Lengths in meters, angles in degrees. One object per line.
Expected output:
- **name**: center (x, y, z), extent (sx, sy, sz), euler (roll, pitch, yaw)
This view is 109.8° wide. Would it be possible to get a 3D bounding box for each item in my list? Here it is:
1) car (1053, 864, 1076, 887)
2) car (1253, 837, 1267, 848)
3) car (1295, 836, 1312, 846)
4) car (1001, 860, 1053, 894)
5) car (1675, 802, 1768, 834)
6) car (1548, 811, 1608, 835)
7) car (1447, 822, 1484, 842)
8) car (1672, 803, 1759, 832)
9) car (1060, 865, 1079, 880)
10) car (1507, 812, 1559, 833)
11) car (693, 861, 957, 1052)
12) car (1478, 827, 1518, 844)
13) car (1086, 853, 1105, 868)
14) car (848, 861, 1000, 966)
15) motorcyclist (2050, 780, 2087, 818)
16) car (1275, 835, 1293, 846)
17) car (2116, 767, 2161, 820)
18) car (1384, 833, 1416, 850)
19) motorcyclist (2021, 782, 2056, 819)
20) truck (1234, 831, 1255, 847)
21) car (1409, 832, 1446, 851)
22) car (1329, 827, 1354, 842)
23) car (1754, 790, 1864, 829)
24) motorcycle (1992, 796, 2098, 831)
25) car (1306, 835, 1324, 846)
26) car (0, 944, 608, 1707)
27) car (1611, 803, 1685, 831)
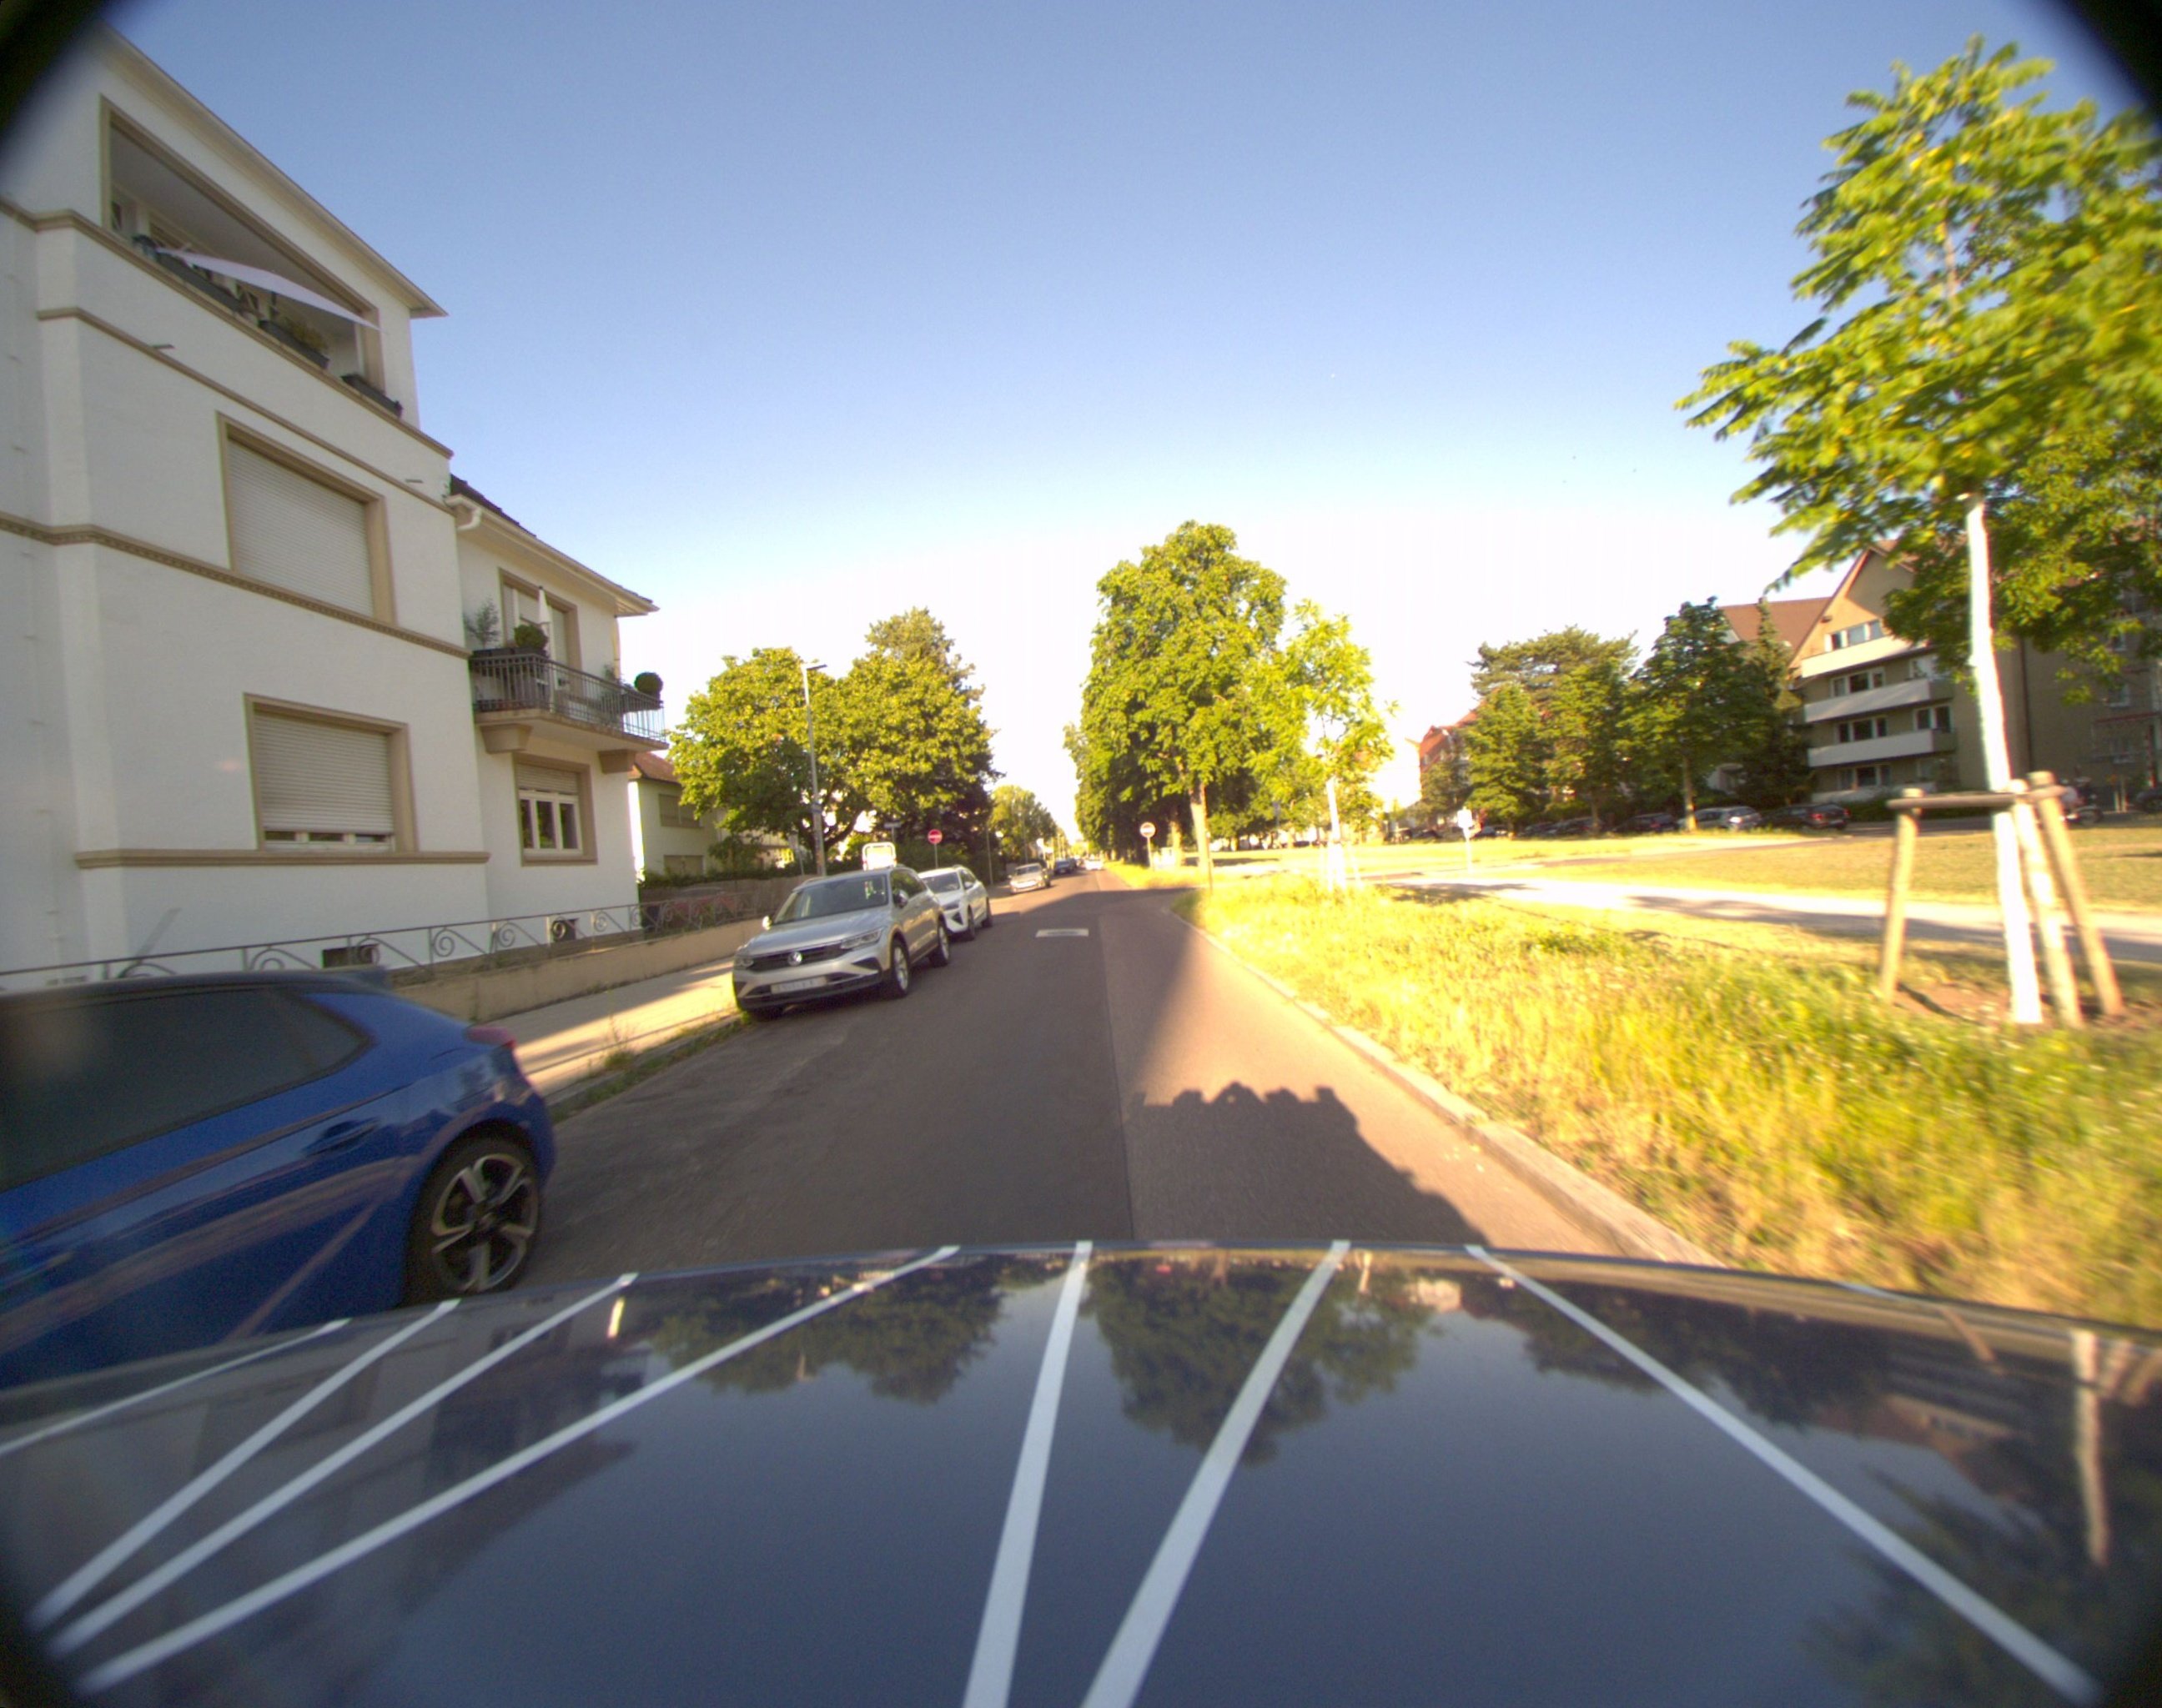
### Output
- **car**: center (-1.662, 2.175, 76.562), extent (1.998, 2.179, 4.001), euler (-4, -1, 2)
- **car**: center (36.684, -2.311, 155.412), extent (1.998, 2.001, 4.002), euler (-4, -1, 3)
- **car**: center (41.440, -2.390, 141.470), extent (1.999, 1.834, 3.999), euler (0, 1, -2)
- **car**: center (-2.725, 1.155, 39.370), extent (2.111, 1.396, 4.133), euler (-9, -1, 1)
- **car**: center (34.225, -1.904, 40.714), extent (1.692, 1.399, 3.643), euler (-4, -1, -3)
- **car**: center (34.318, -2.113, 52.537), extent (1.560, 1.407, 3.643), euler (-4, -1, -3)
- **car**: center (41.007, -2.329, 81.133), extent (1.998, 2.002, 4.000), euler (3, 1, 4)
- **car**: center (40.377, -2.299, 48.458), extent (1.999, 1.490, 3.999), euler (-4, -1, -3)
- **car**: center (-1.333, 2.177, 91.337), extent (1.998, 1.624, 4.001), euler (-4, -1, 2)
- **car**: center (34.166, -2.357, 57.561), extent (1.560, 1.323, 3.643), euler (-4, -1, -3)
- **car**: center (-3.042, 1.091, 10.224), extent (1.805, 1.639, 4.583), euler (-9, 1, 0)
- **car**: center (41.119, -1.782, 75.049), extent (1.998, 1.596, 4.000), euler (0, 1, 4)
- **car**: center (1.648, 0.695, 84.370), extent (1.998, 1.483, 4.000), euler (-1, 1, 1)
- **car**: center (-3.096, 1.110, 16.098), extent (1.880, 1.525, 4.590), euler (-9, 0, 2)
- **motorcyclist**: center (32.062, -1.780, 24.677), extent (0.574, 1.143, 0.752), euler (-4, 0, 44)
- **car**: center (36.126, -2.395, 135.150), extent (2.125, 2.002, 3.999), euler (0, 1, 0)
- **car**: center (39.905, -2.295, 26.470), extent (1.624, 1.813, 4.288), euler (-4, -1, -3)
- **car**: center (35.106, -1.359, 83.809), extent (1.998, 1.833, 4.000), euler (0, 1, 2)
- **motorcyclist**: center (31.702, -1.766, 25.170), extent (0.574, 1.143, 0.752), euler (-4, 0, 44)
- **truck**: center (36.742, -3.289, 171.087), extent (2.785, 3.128, 7.710), euler (-5, 0, 0)
- **car**: center (35.056, -1.275, 77.034), extent (1.998, 1.833, 4.000), euler (0, 1, 2)
- **car**: center (35.791, -2.678, 104.371), extent (1.998, 1.692, 4.001), euler (-4, -1, 1)
- **car**: center (34.570, -2.078, 36.209), extent (1.894, 1.513, 3.682), euler (-3, -1, 7)
- **motorcycle**: center (31.852, -1.315, 25.163), extent (0.567, 0.951, 2.106), euler (-4, 0, -41)
- **car**: center (41.159, -2.306, 133.713), extent (1.999, 1.871, 3.999), euler (0, 1, -2)
- **car**: center (-3.182, 1.285, 1.374), extent (1.767, 1.427, 4.303), euler (-10, 1, 0)
- **car**: center (34.347, -2.200, 46.147), extent (1.560, 1.360, 3.643), euler (-4, -1, -3)
